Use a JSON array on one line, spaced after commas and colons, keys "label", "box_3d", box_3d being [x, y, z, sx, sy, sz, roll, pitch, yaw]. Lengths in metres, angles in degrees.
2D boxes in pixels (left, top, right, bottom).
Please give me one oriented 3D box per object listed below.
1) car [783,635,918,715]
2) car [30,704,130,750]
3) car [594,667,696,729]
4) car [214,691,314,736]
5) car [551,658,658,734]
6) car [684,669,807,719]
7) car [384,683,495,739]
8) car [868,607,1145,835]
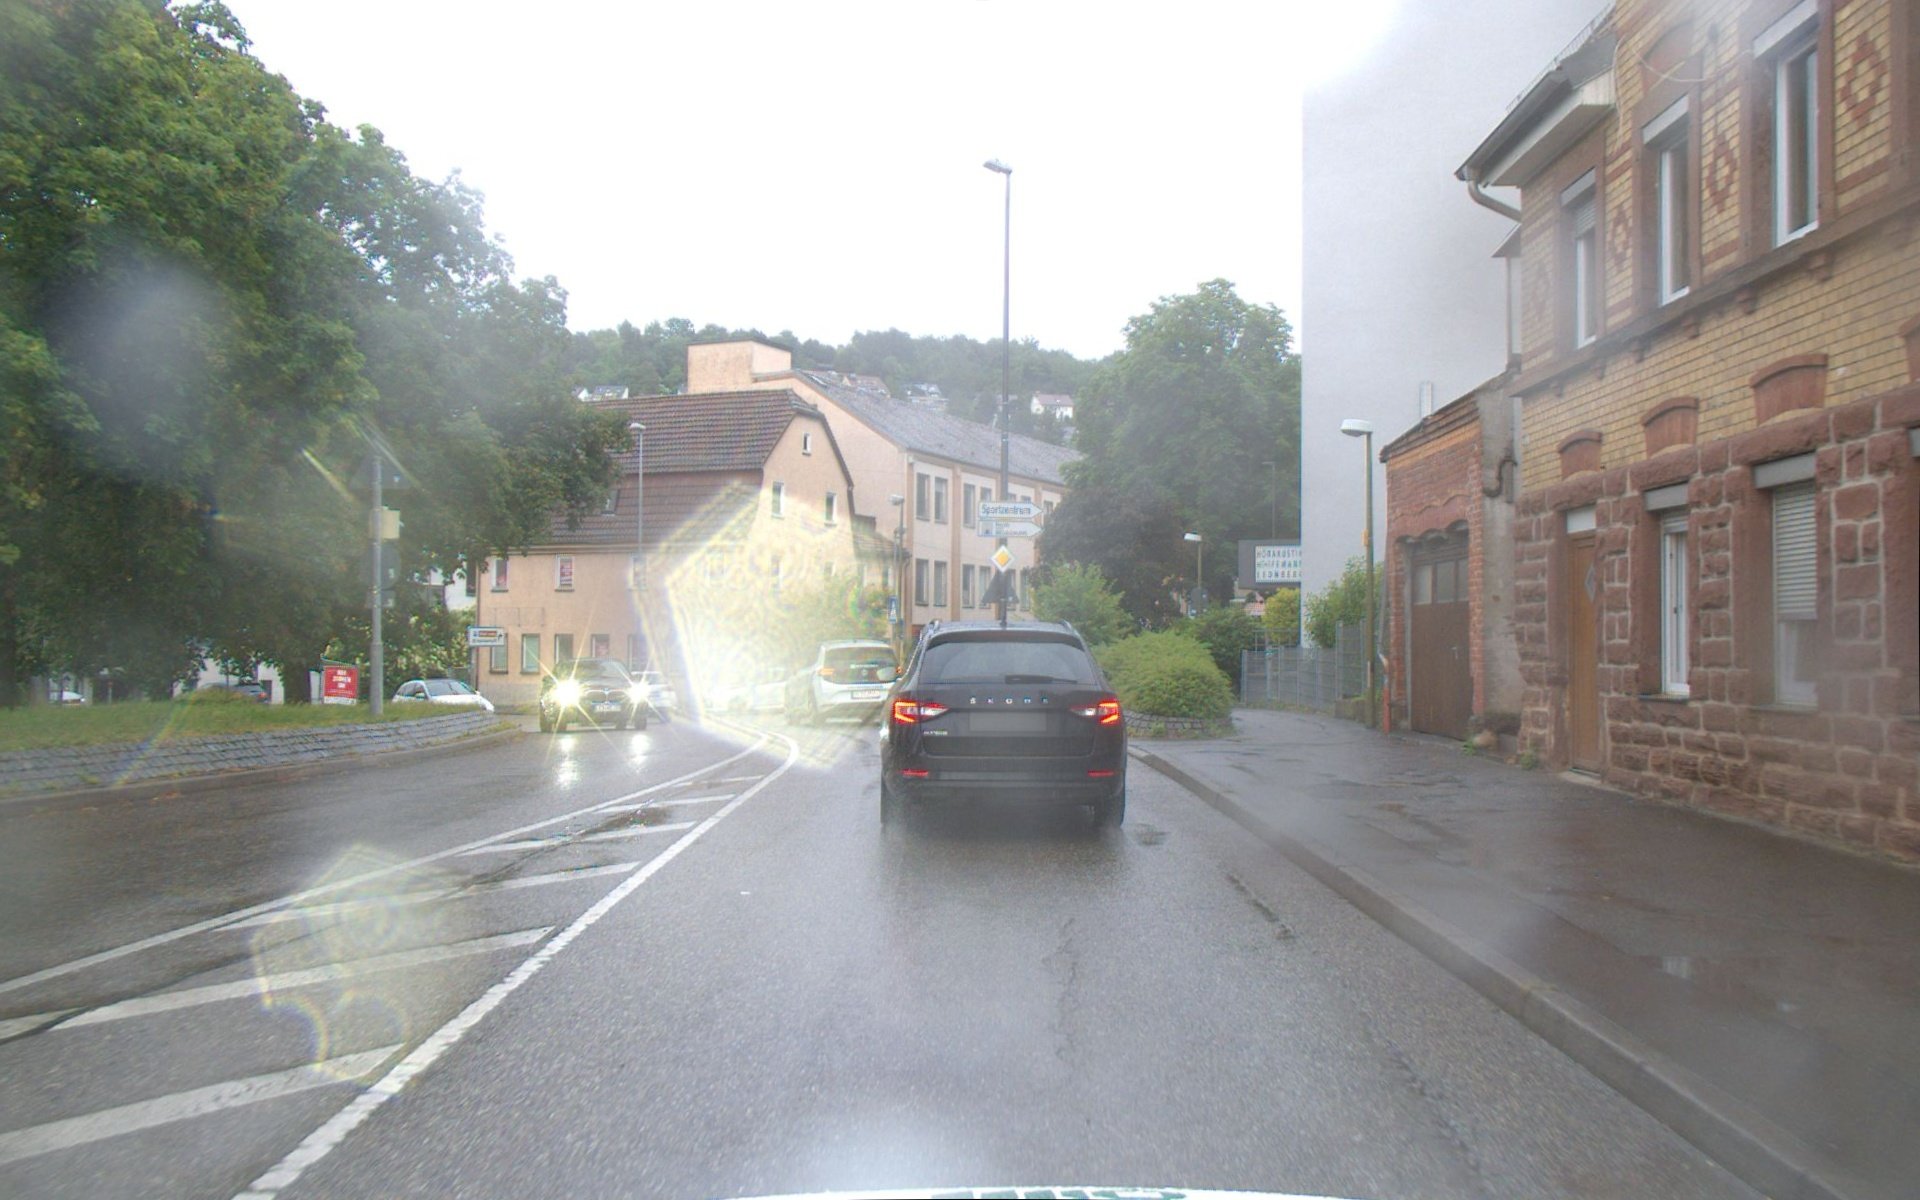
[{"label": "car", "box_3d": [-2.126, 1.386, 31.120, 1.788, 1.383, 3.972, 1, -2, -15]}, {"label": "car", "box_3d": [-34.198, 4.909, 64.285, 3.609, 1.618, 1.894, -2, -2, 32]}, {"label": "car", "box_3d": [-8.913, 2.744, 46.541, 1.707, 1.618, 4.147, 4, -4, -27]}, {"label": "car", "box_3d": [-27.211, 4.413, 64.677, 3.609, 1.618, 1.894, -2, -2, 32]}, {"label": "car", "box_3d": [-7.193, 1.884, 33.211, 1.708, 1.435, 4.033, 1, -2, -18]}, {"label": "car", "box_3d": [-7.141, 3.110, 55.161, 3.707, 1.478, 1.697, -1, -2, -27]}, {"label": "car", "box_3d": [-15.476, 3.297, 49.045, 1.712, 1.531, 4.197, 1, -4, -39]}, {"label": "car", "box_3d": [0.197, 0.853, 13.150, 1.747, 1.509, 4.241, 0, -1, -5]}]
